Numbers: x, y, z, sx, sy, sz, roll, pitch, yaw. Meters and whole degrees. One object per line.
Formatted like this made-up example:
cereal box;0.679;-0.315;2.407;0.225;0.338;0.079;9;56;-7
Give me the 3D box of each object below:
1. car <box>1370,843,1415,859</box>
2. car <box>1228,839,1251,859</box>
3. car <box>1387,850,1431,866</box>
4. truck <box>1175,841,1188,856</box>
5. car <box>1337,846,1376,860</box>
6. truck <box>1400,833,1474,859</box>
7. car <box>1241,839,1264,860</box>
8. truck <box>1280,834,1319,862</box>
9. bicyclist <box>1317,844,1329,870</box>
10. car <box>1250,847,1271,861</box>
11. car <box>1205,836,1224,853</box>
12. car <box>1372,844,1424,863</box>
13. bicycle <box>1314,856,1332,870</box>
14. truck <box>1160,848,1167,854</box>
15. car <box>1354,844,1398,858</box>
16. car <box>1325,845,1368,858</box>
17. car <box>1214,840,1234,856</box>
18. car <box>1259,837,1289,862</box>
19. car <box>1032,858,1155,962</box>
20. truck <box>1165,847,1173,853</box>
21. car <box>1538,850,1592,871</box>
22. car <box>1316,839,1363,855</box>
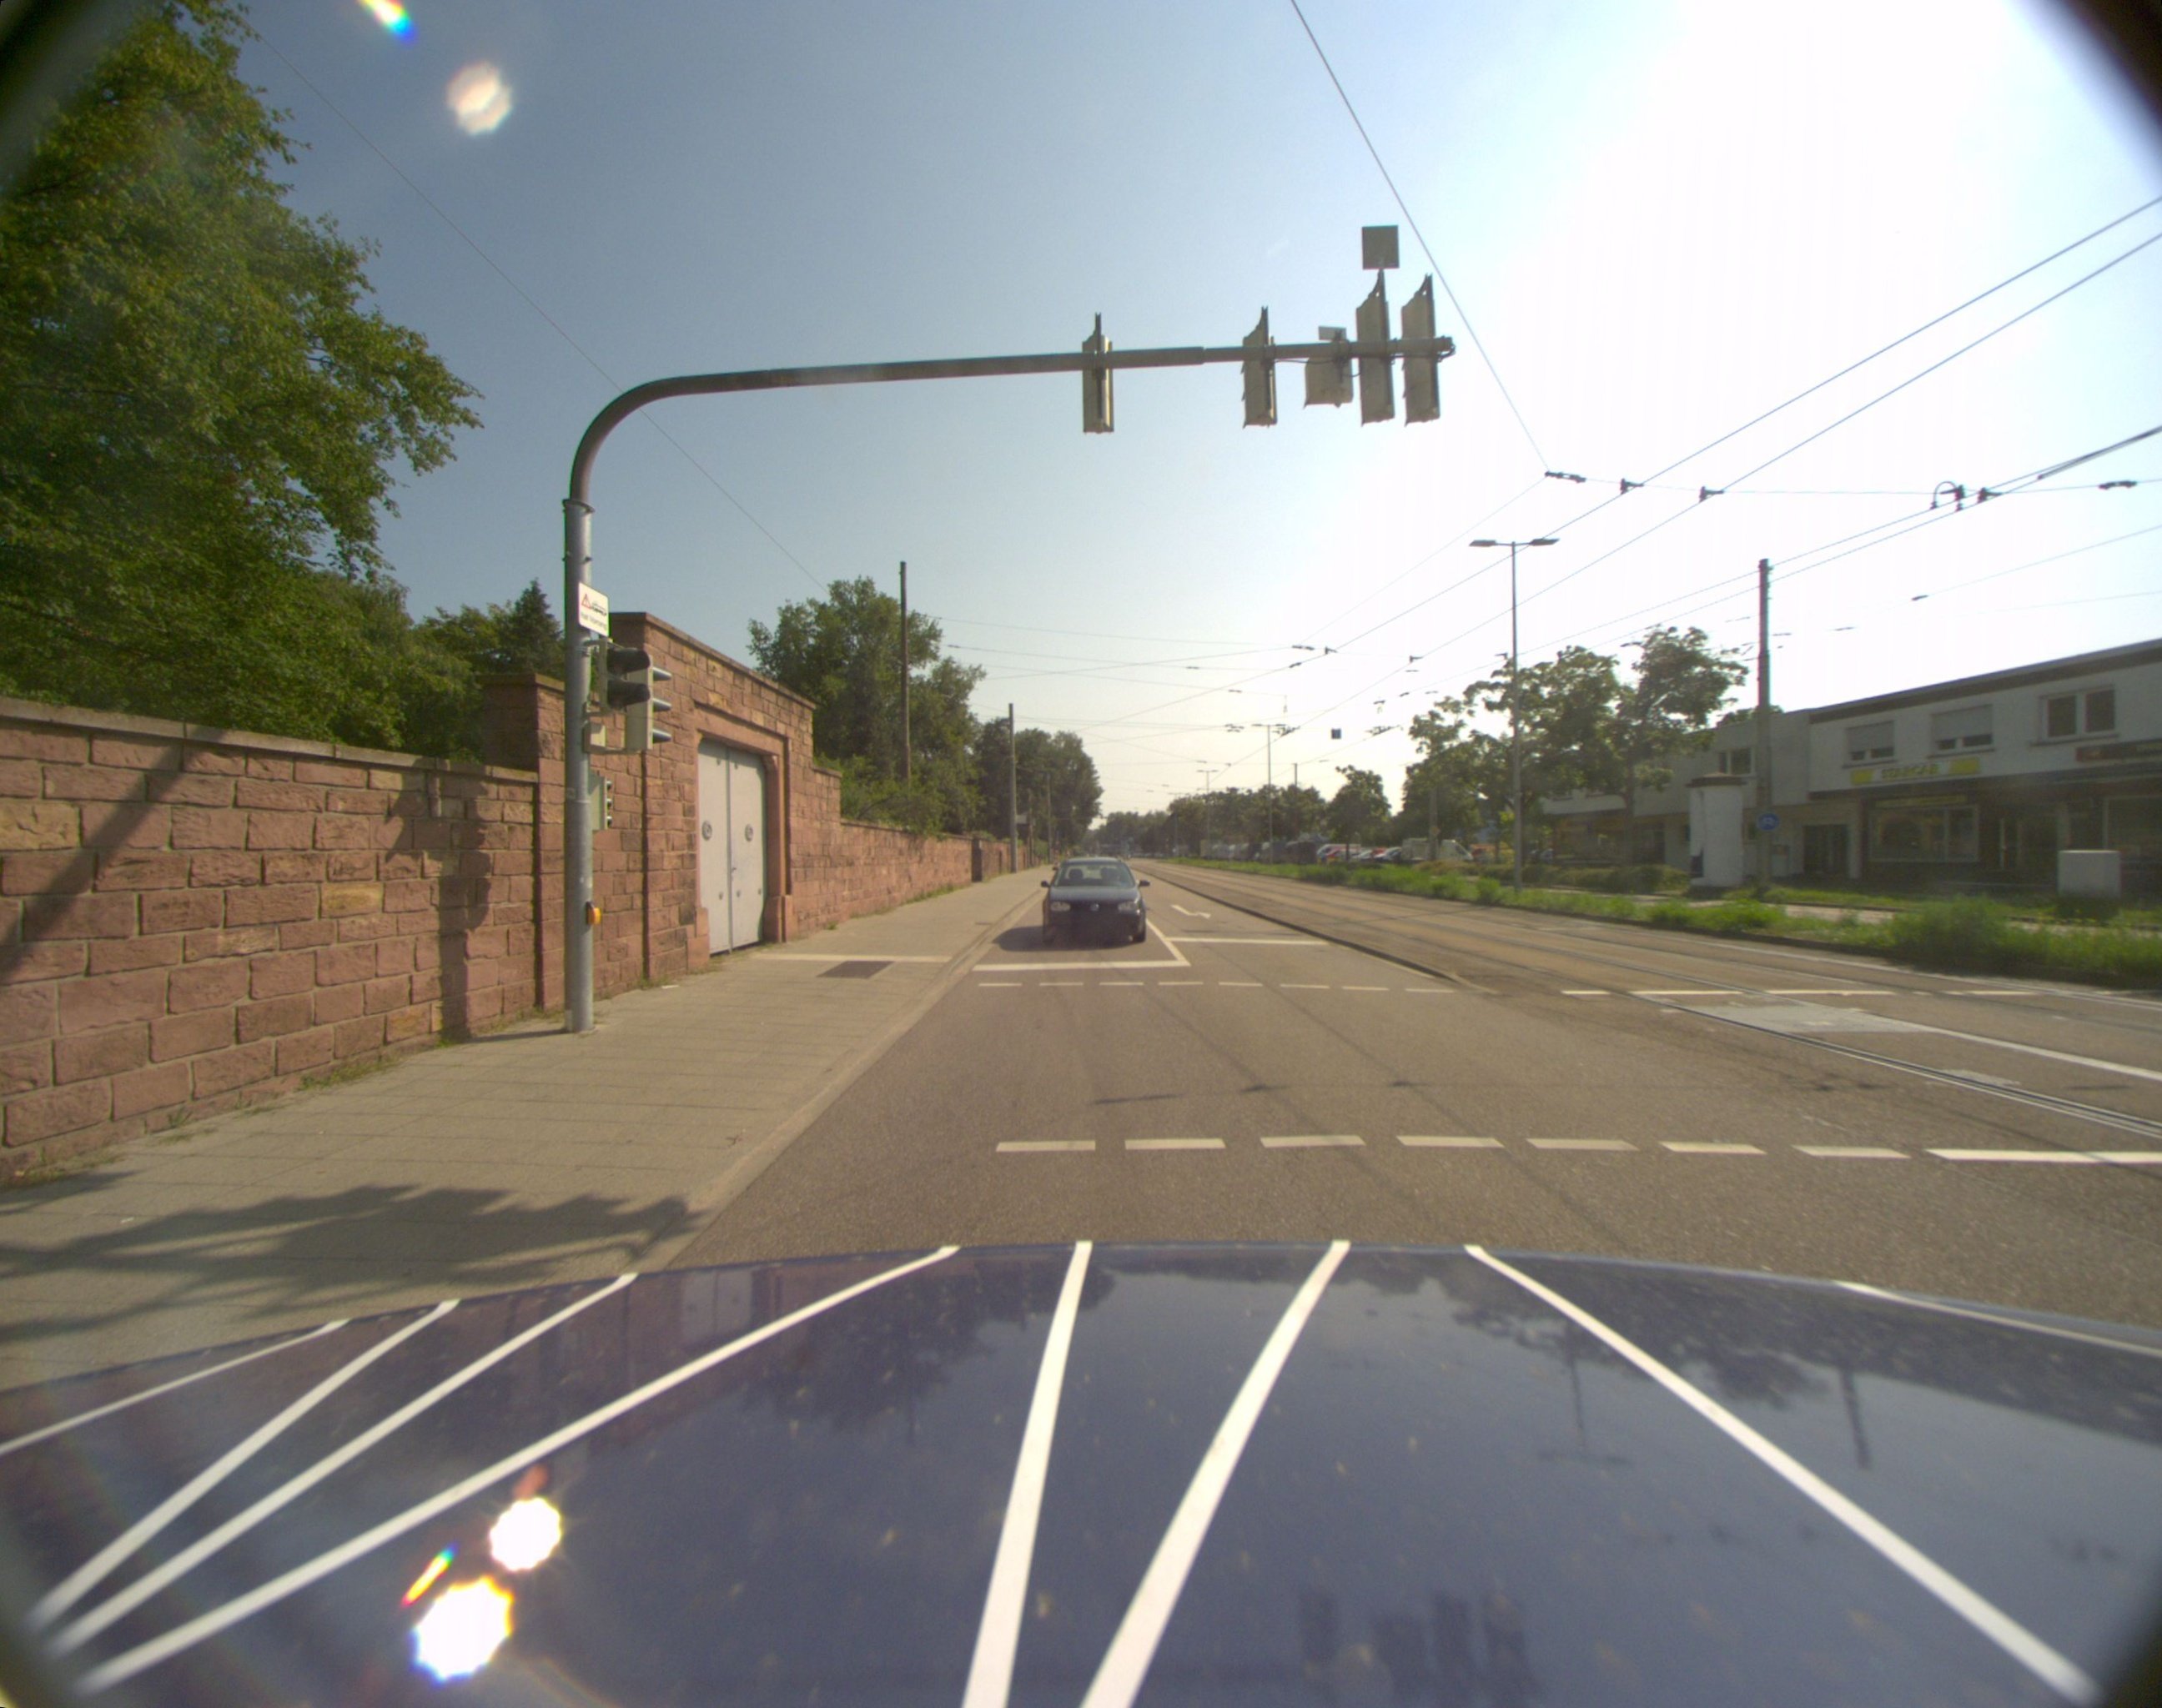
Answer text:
car;31.859;-0.341;77.825;3.933;1.510;1.633;1;1;0
car;21.525;-0.652;103.395;2.137;2.571;5.630;1;1;2
car;31.179;0.382;72.311;3.413;1.418;1.633;1;1;0
truck;22.573;-1.297;170.773;2.278;3.104;8.788;1;1;4
car;32.072;-0.114;88.390;3.933;1.441;1.633;1;1;0
truck;31.609;-0.675;67.590;5.503;2.160;2.259;1;1;0
car;21.453;-0.582;95.241;1.826;2.571;5.910;-1;0;2
truck;20.872;-0.575;72.976;2.086;2.533;5.738;1;1;0
bicyclist;18.998;0.211;59.652;0.639;2.052;0.774;1;1;1
car;21.045;0.013;89.131;1.748;1.543;3.834;-1;1;4
car;22.309;-1.575;127.409;2.129;2.789;7.231;1;1;2
car;31.341;-0.048;75.257;4.409;1.774;1.633;1;1;0
bicycle;18.987;0.697;59.649;0.717;1.085;2.265;1;1;2
truck;22.884;-0.903;211.206;1.691;1.665;3.655;1;1;2
car;31.757;-0.377;81.896;4.164;1.455;1.625;1;1;7
car;32.637;-0.329;93.436;4.665;1.441;1.633;1;1;0
car;22.108;-0.986;117.901;2.148;2.444;4.831;1;1;0
car;20.999;-0.514;82.937;1.993;2.571;6.467;-1;1;3
car;0.260;0.843;13.212;1.776;1.416;3.935;-2;1;2
truck;23.225;-1.011;201.094;1.691;1.665;3.655;1;1;2
car;44.695;0.585;70.243;3.810;1.759;1.759;1;1;6
car;32.801;-0.857;96.584;5.198;1.914;2.052;1;1;0
